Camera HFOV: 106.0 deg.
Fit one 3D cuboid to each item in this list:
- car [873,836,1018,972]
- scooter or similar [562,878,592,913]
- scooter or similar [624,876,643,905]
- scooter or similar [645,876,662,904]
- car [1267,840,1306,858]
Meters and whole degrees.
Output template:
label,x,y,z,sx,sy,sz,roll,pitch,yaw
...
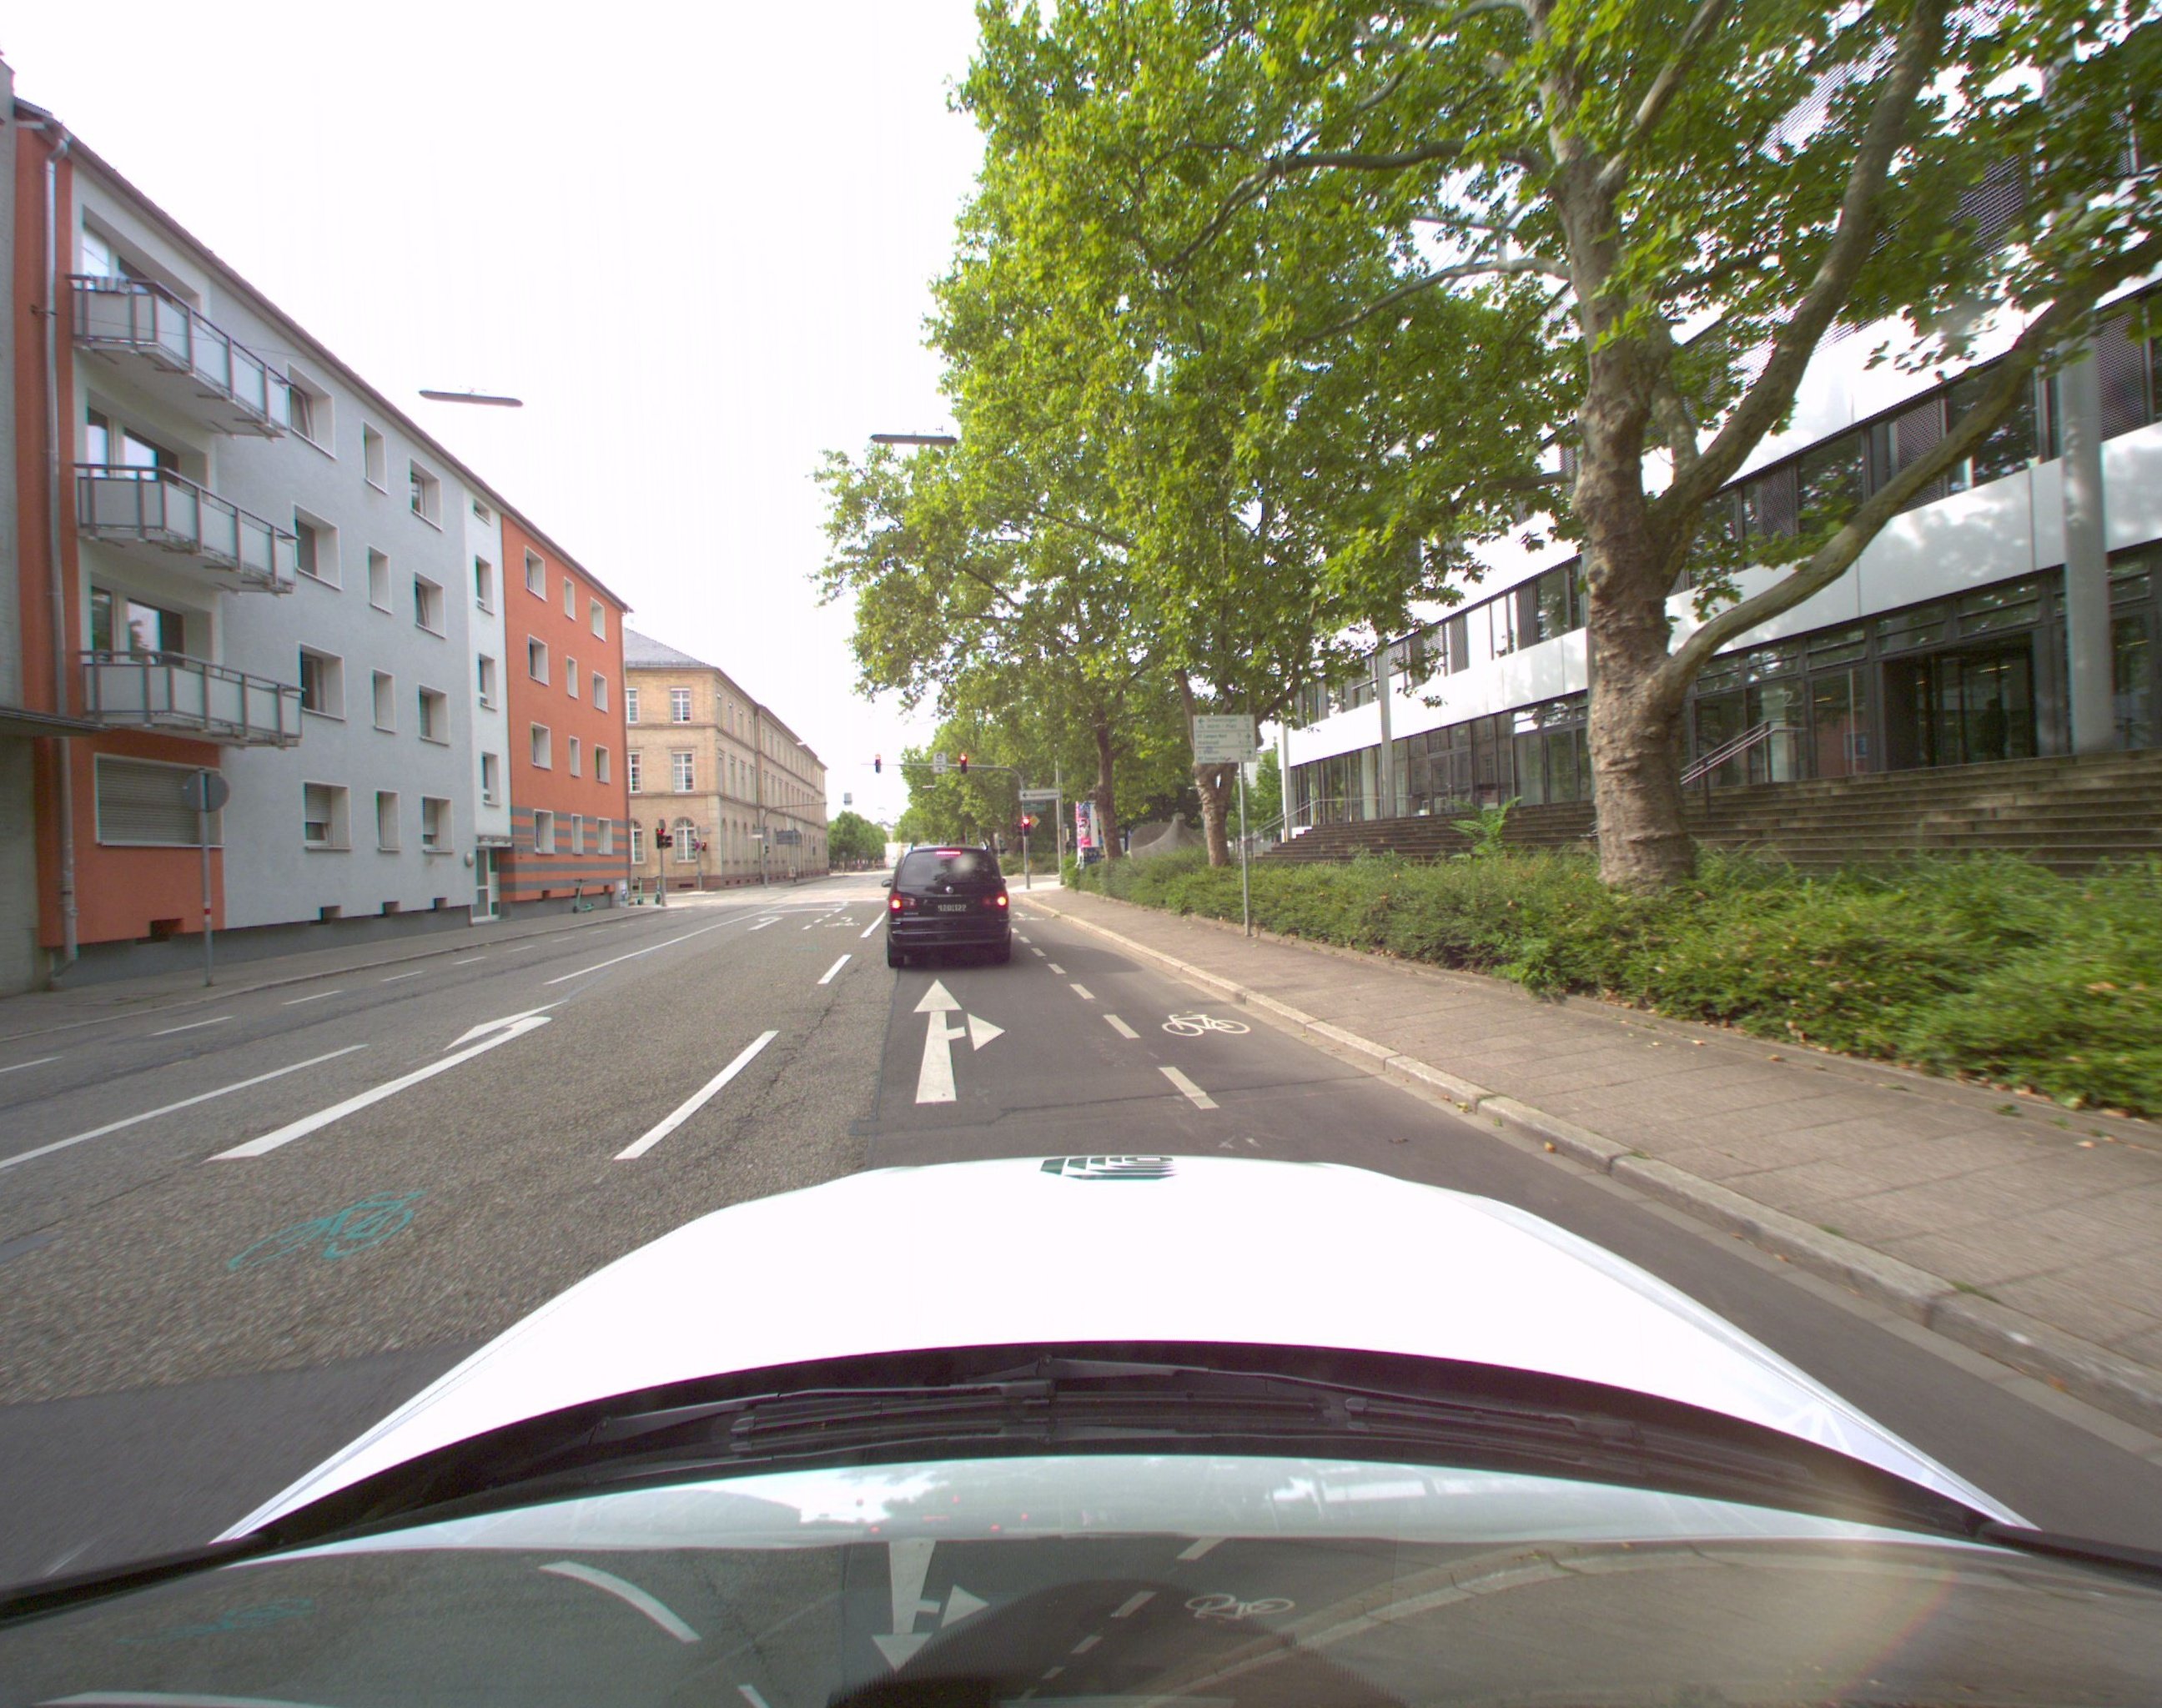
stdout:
label,x,y,z,sx,sy,sz,roll,pitch,yaw
car,-2.098,0.657,13.211,1.872,1.745,4.561,-2,0,-7
scooter or similar,-17.377,1.417,28.084,0.378,1.184,1.384,-2,-2,-11
scooter or similar,-18.735,1.528,34.126,0.378,1.147,1.136,-2,-2,-14
scooter or similar,-18.256,1.526,34.776,0.378,1.144,1.136,-2,-2,-14
car,19.847,-0.452,78.959,1.963,1.651,4.134,-2,0,-13
